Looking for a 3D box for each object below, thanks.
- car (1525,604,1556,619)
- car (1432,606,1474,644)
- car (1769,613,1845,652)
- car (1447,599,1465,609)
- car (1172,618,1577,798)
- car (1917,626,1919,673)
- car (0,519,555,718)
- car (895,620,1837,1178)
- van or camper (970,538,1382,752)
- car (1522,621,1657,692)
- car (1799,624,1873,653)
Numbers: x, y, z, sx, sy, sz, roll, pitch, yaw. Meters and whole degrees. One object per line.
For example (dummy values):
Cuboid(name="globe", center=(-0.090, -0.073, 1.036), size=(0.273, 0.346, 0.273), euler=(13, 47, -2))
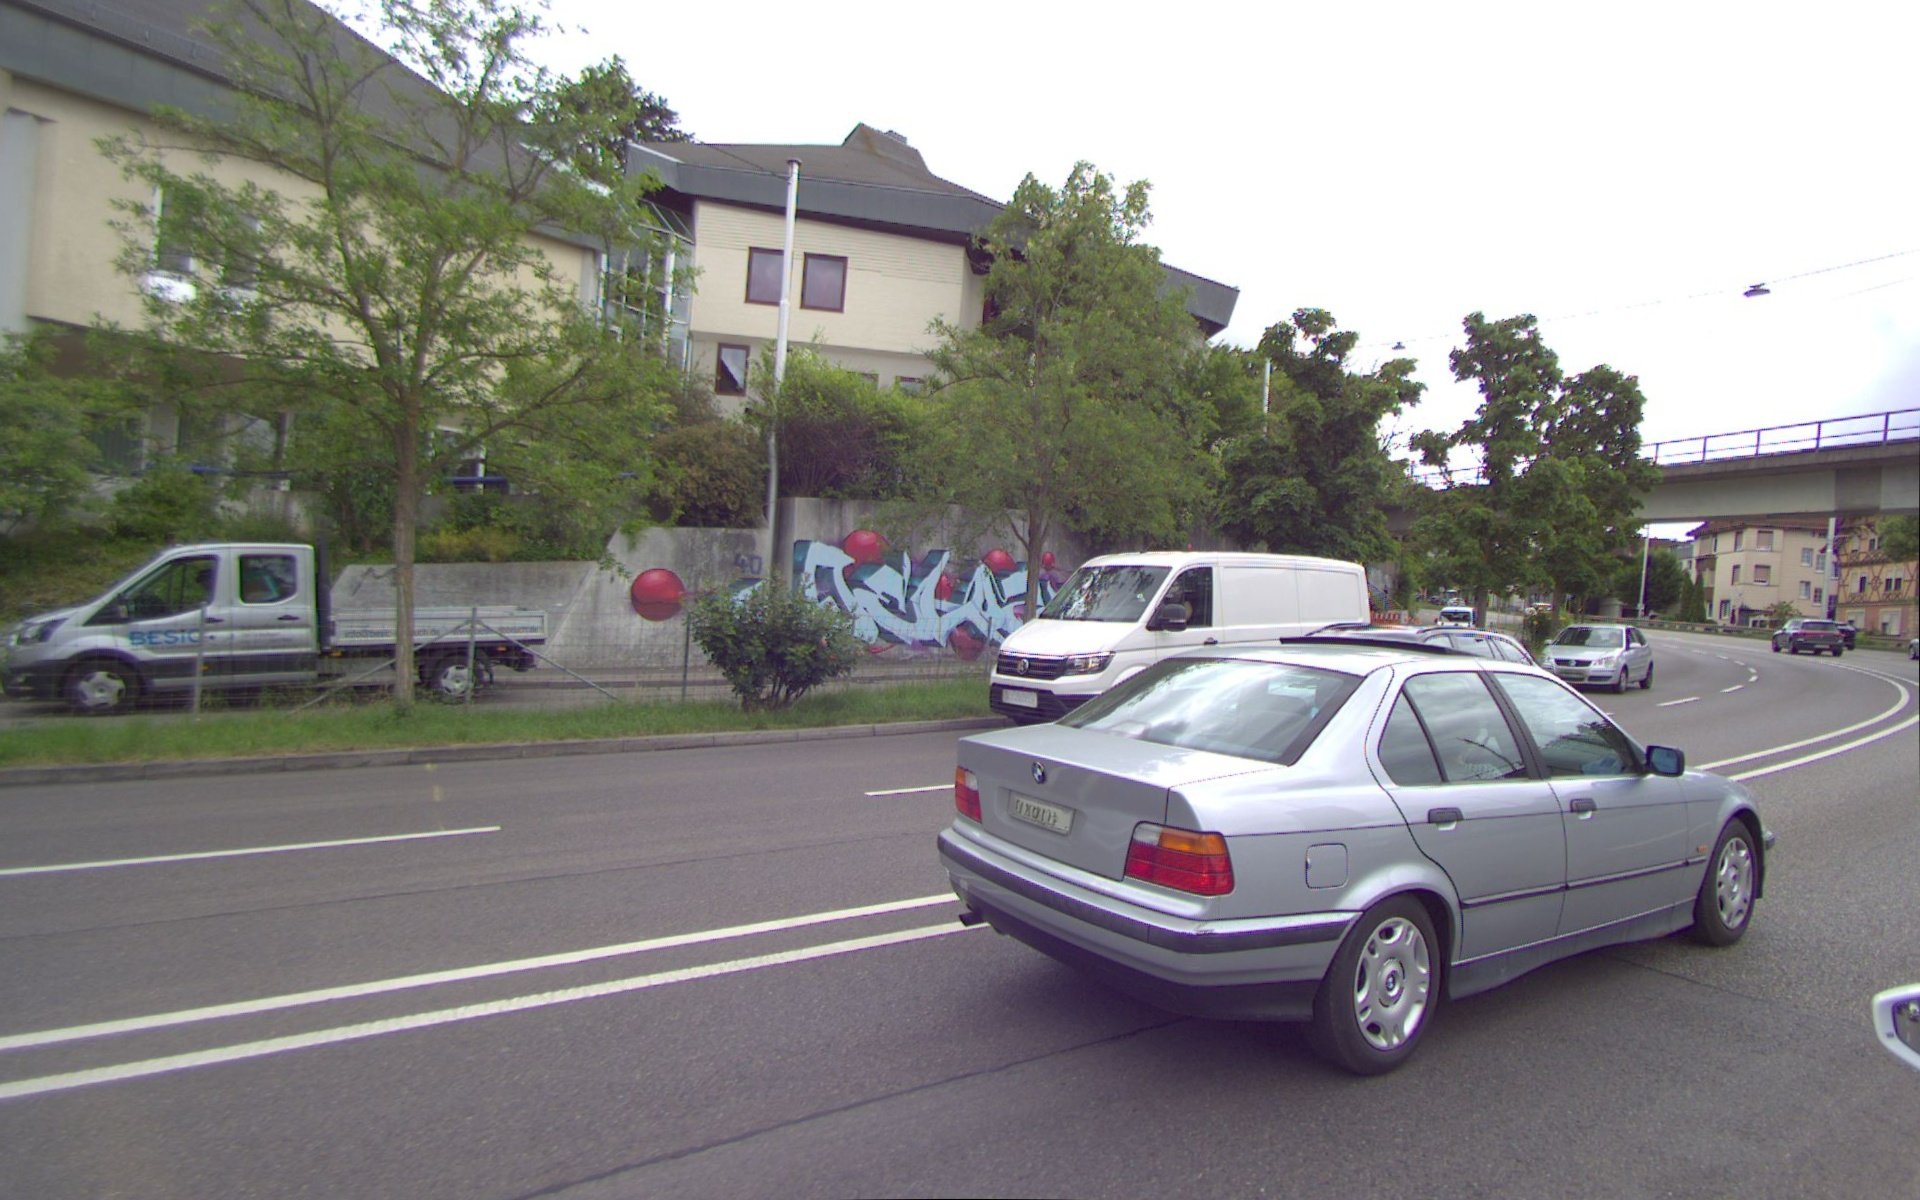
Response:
Cuboid(name="car", center=(58.126, 1.132, 100.629), size=(1.693, 1.394, 3.458), euler=(2, 1, 14))
Cuboid(name="car", center=(24.926, 1.238, 50.700), size=(1.740, 1.809, 4.458), euler=(0, 0, 28))
Cuboid(name="car", center=(39.318, 1.472, 46.738), size=(1.695, 1.662, 3.454), euler=(2, 1, 23))
Cuboid(name="car", center=(73.903, 0.648, 149.692), size=(1.693, 1.394, 3.458), euler=(2, 1, 14))
Cuboid(name="car", center=(4.274, 0.917, 10.069), size=(4.386, 1.433, 1.724), euler=(1, -1, -36))
Cuboid(name="car", center=(28.117, 1.472, 27.917), size=(1.700, 1.394, 3.444), euler=(2, 1, 36))
Cuboid(name="car", center=(-9.261, 0.281, 14.179), size=(6.259, 2.303, 2.254), euler=(2, 0, -33))
Cuboid(name="car", center=(2.102, 0.846, 4.571), size=(4.570, 1.401, 1.625), euler=(1, 1, -33))
Cuboid(name="van or camper", center=(3.067, 0.527, 13.319), size=(5.907, 2.291, 1.993), euler=(1, 0, -38))
Cuboid(name="car", center=(14.233, 1.212, 22.633), size=(3.782, 1.427, 1.686), euler=(1, 0, -43))
Cuboid(name="car", center=(47.092, 2.047, 54.084), size=(1.694, 1.394, 3.457), euler=(2, 1, 17))
